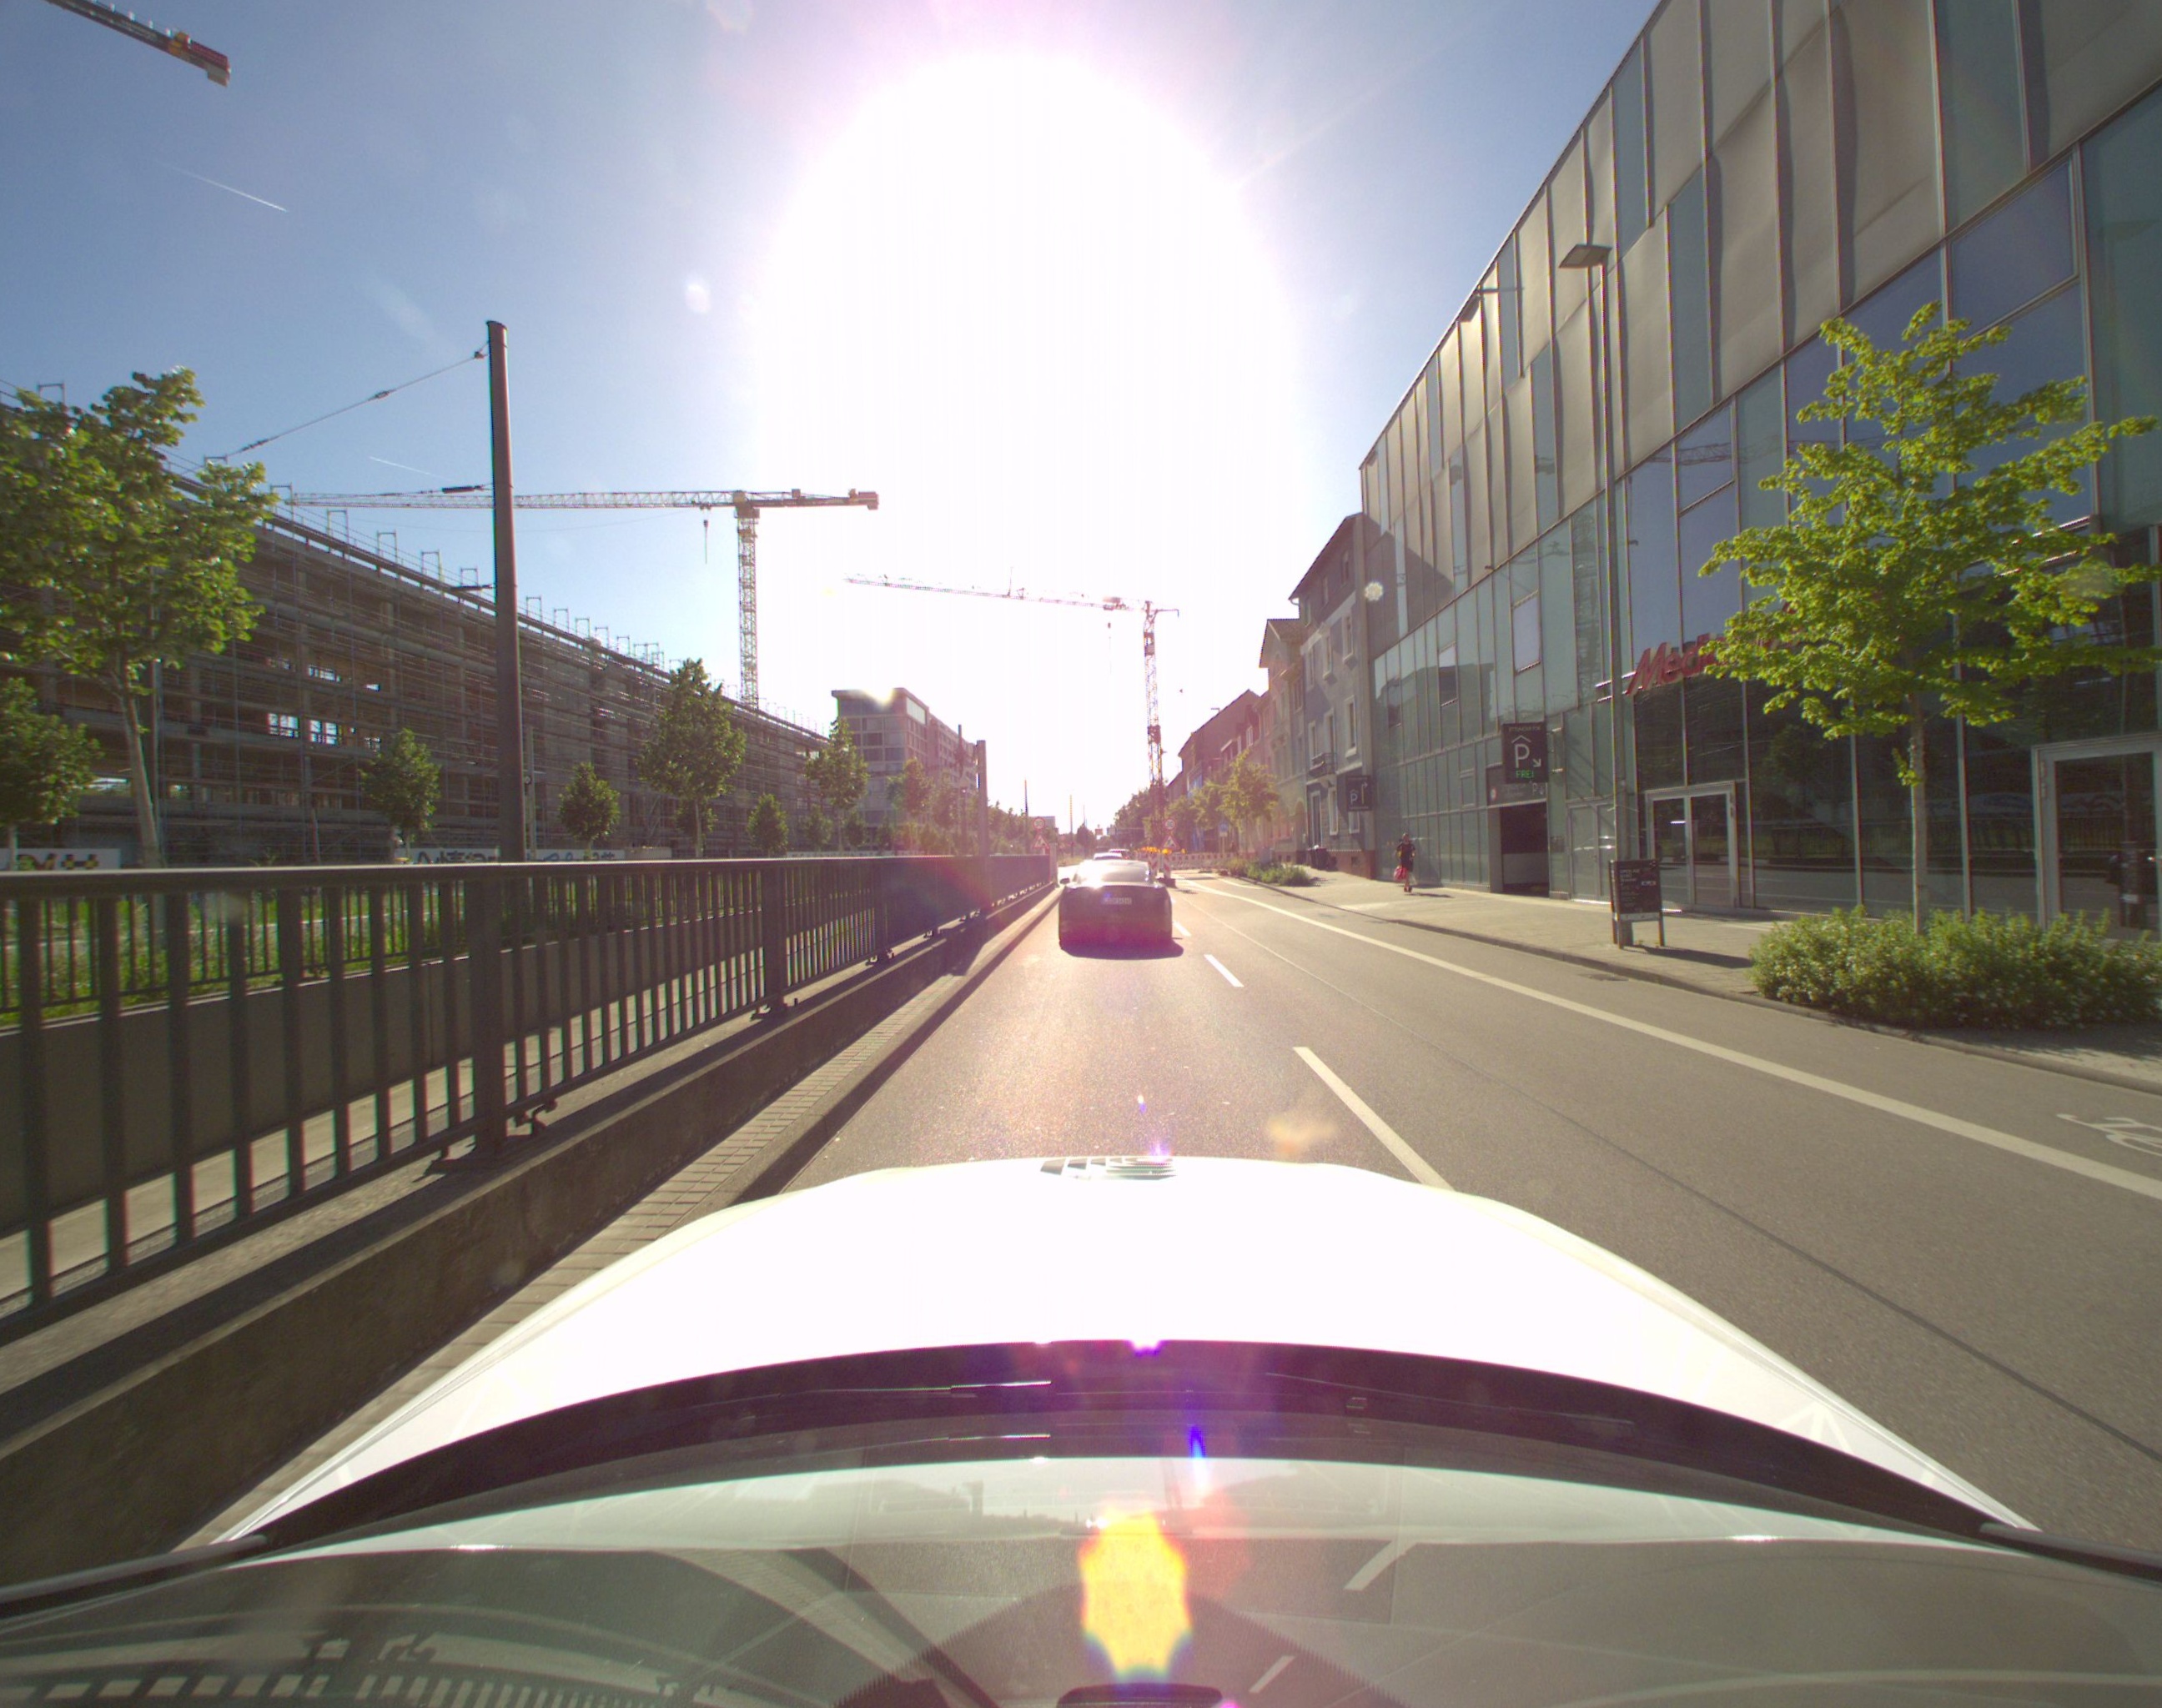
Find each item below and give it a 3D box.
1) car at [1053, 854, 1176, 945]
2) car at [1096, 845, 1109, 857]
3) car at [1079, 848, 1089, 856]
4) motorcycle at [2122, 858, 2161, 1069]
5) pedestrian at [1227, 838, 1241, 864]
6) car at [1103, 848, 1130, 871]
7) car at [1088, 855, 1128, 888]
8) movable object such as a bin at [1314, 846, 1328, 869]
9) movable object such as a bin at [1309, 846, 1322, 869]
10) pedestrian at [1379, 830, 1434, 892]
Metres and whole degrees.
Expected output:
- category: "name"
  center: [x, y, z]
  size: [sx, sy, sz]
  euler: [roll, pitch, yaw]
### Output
- category: "car"
  center: [0.584, 0.752, 15.561]
  size: [1.992, 1.434, 4.413]
  euler: [-1, 0, 1]
- category: "car"
  center: [3.430, -0.442, 129.154]
  size: [1.806, 1.809, 4.043]
  euler: [-2, 0, 4]
- category: "car"
  center: [0.542, -0.380, 165.503]
  size: [1.986, 1.684, 4.001]
  euler: [0, 0, 1]
- category: "motorcycle"
  center: [7.825, 0.645, 4.726]
  size: [2.054, 1.353, 0.656]
  euler: [-5, -1, 25]
- category: "pedestrian"
  center: [11.647, -0.232, 61.913]
  size: [0.848, 1.863, 0.930]
  euler: [-2, 0, 1]
- category: "car"
  center: [2.588, 0.354, 58.139]
  size: [1.777, 1.546, 4.043]
  euler: [-2, 0, 4]
- category: "car"
  center: [1.268, 0.734, 36.952]
  size: [1.709, 1.319, 4.004]
  euler: [-2, 0, 3]
- category: "movable object such as a bin"
  center: [12.071, 0.180, 40.958]
  size: [0.556, 1.169, 0.563]
  euler: [0, -1, 6]
- category: "movable object such as a bin"
  center: [12.024, 0.184, 41.808]
  size: [0.556, 1.169, 0.563]
  euler: [0, -1, 6]
- category: "pedestrian"
  center: [10.380, 0.222, 26.025]
  size: [1.091, 1.863, 1.523]
  euler: [-2, 0, 1]
